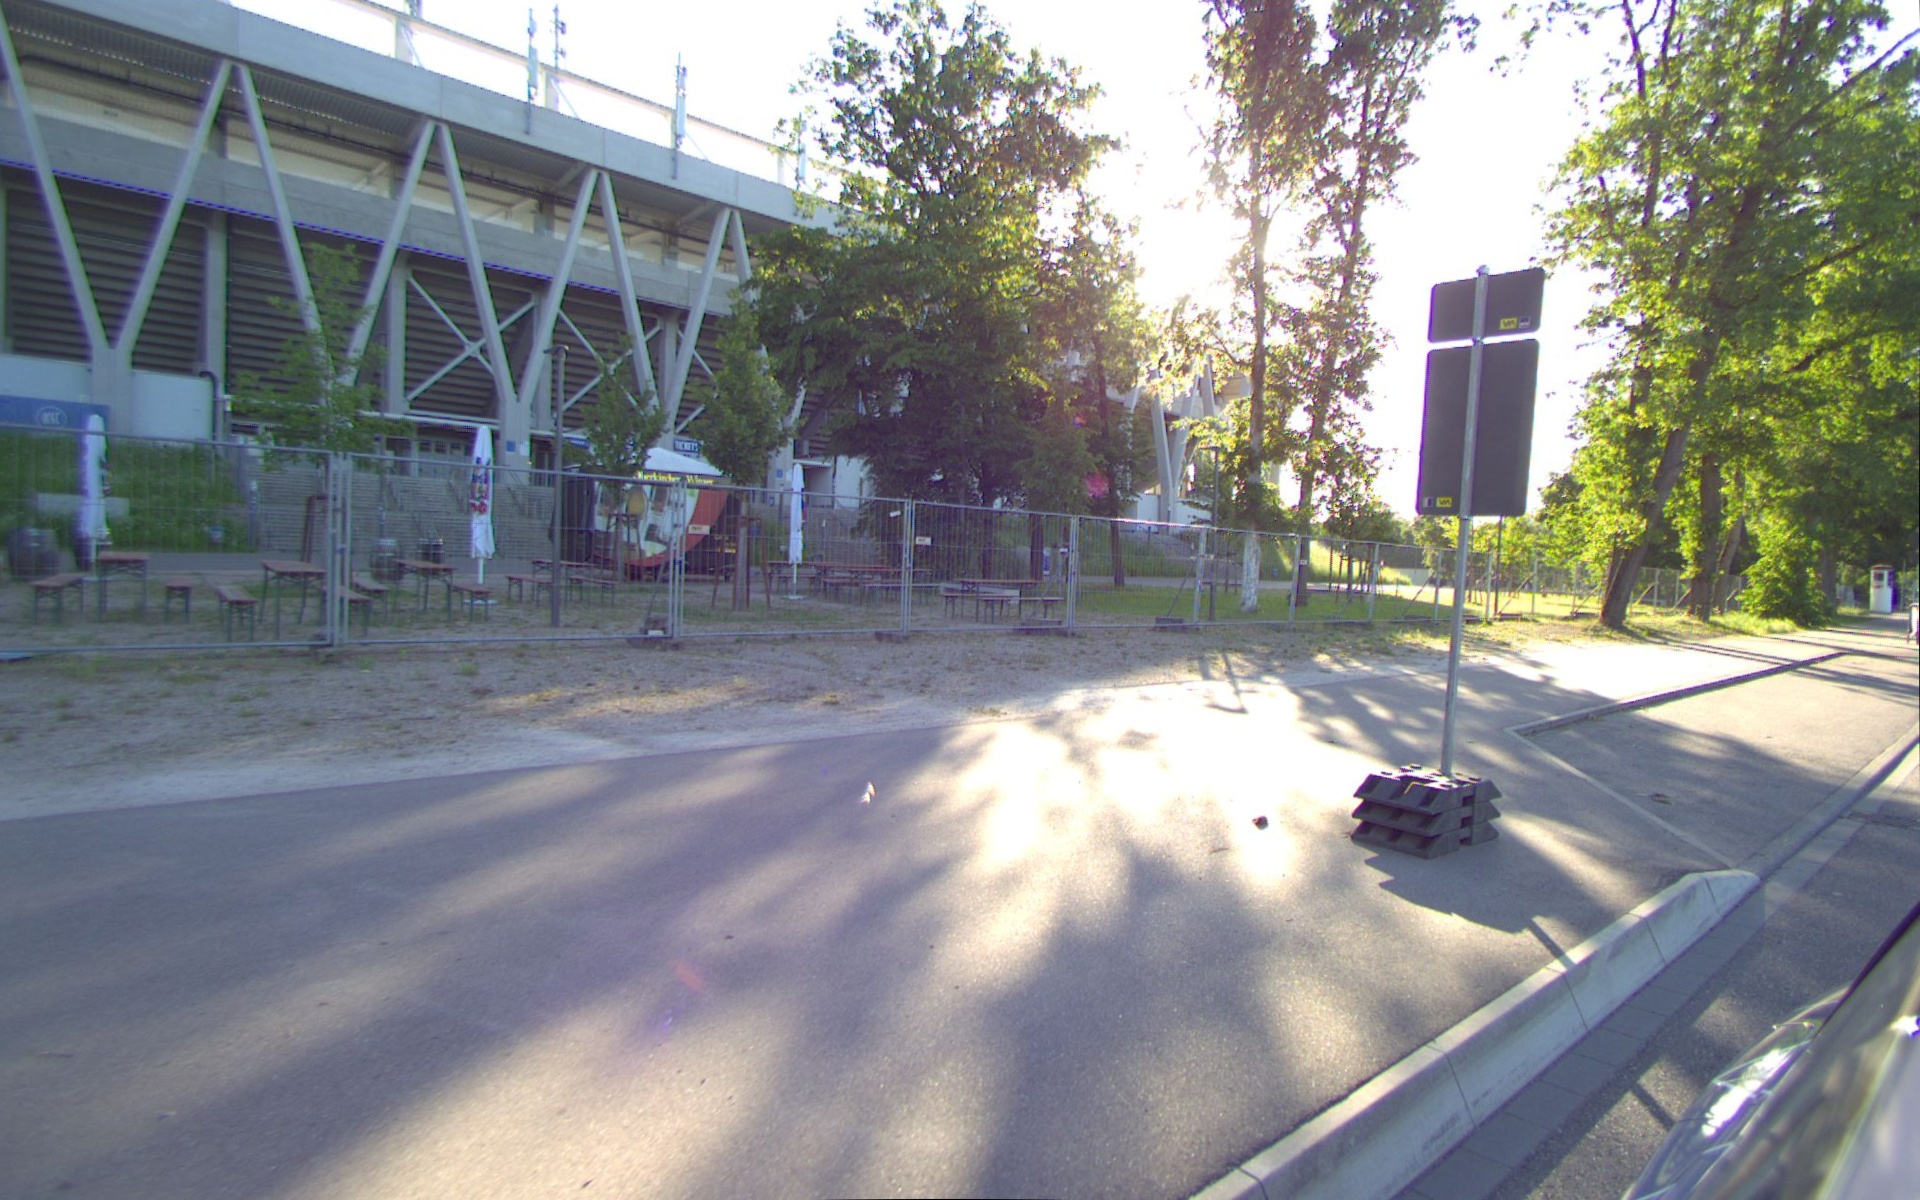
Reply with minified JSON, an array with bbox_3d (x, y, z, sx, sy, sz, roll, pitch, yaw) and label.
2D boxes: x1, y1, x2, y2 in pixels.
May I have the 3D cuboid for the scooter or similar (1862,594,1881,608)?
[{"bbox_3d":[82.525,0.101,91.619,1.280,1.252,0.334,2,1,11],"label":"scooter or similar"}]
